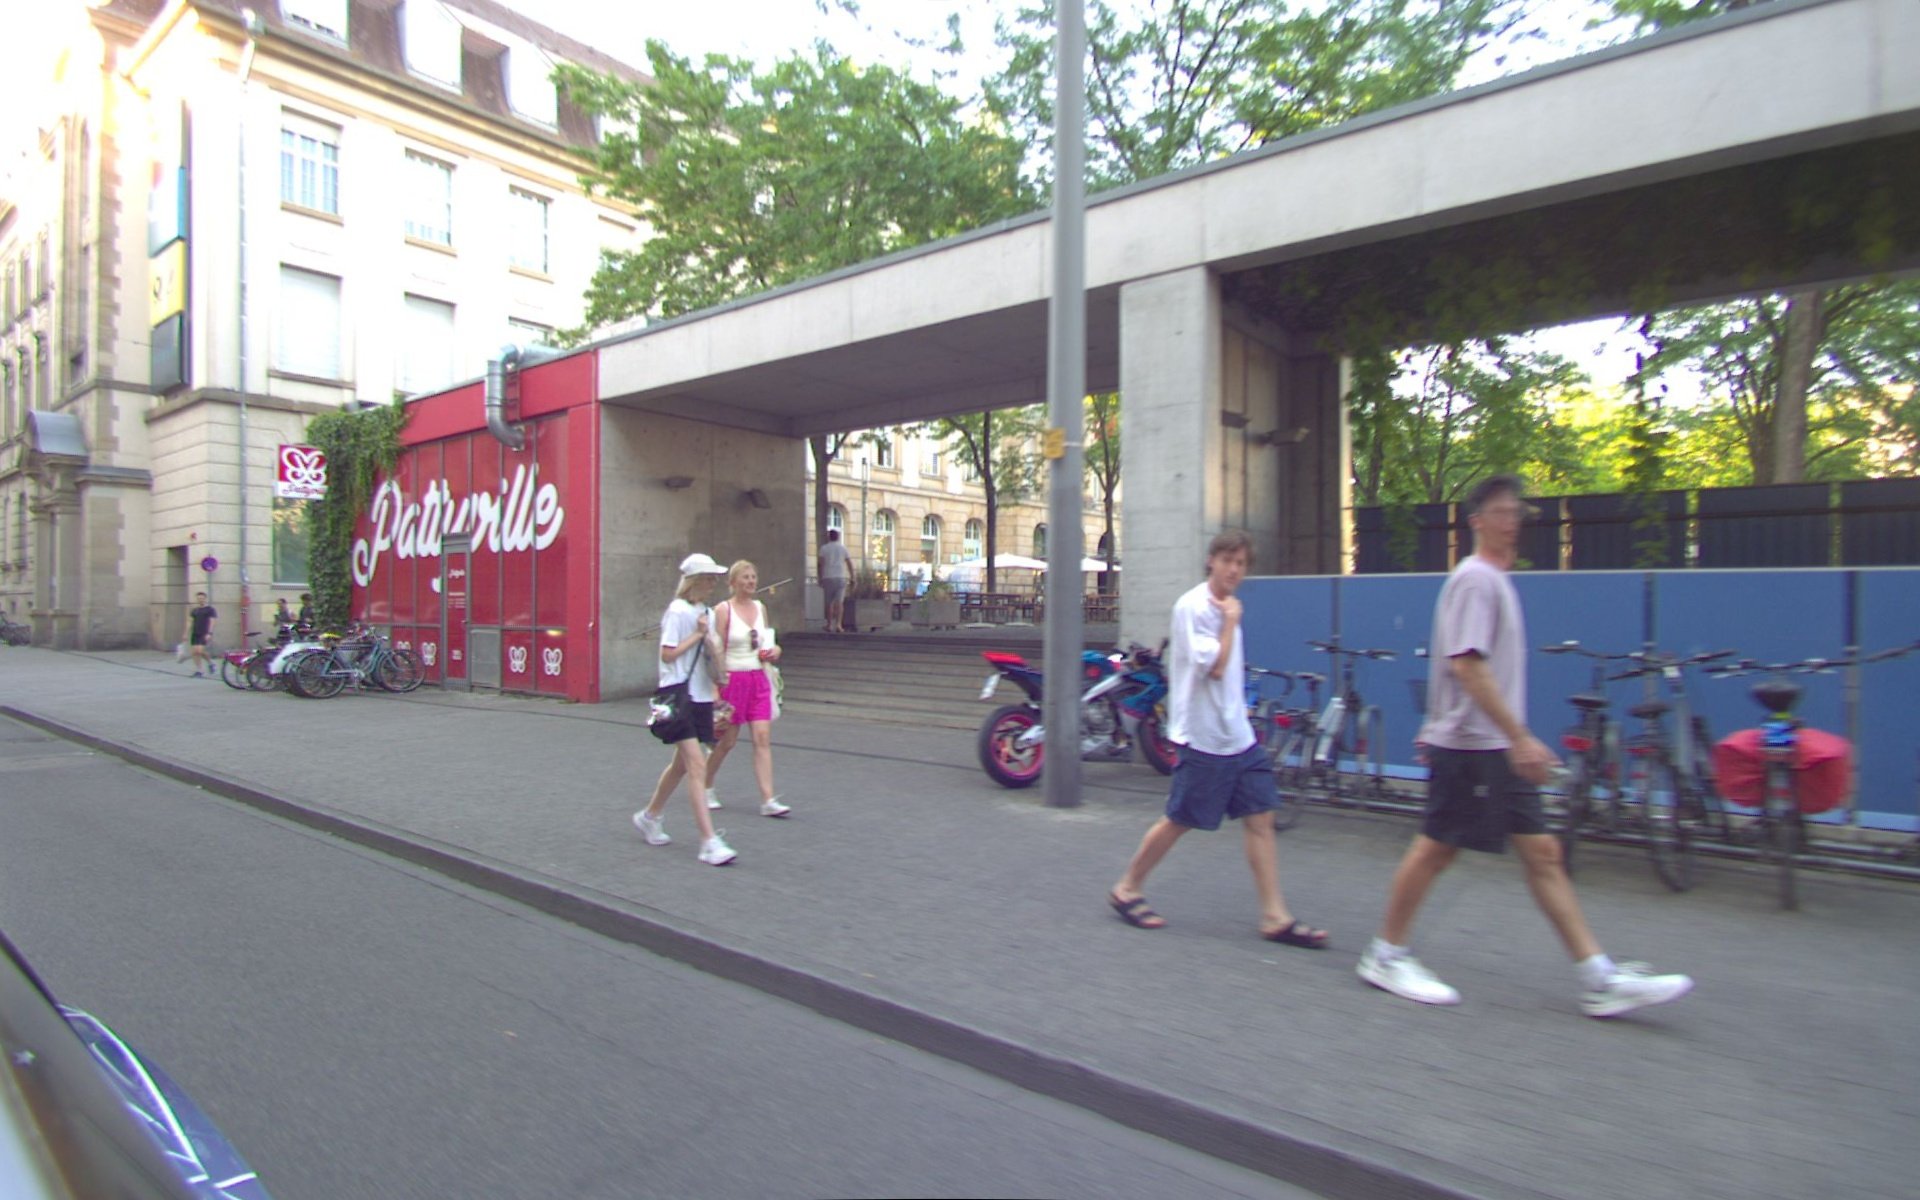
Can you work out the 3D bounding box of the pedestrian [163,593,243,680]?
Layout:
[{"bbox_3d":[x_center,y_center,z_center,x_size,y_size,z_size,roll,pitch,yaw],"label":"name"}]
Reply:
[{"bbox_3d":[-16.382,0.774,21.933,0.936,1.841,1.004,-1,0,12],"label":"pedestrian"}]

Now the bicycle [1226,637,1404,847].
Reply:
[{"bbox_3d":[2.245,0.814,6.307,1.475,1.096,0.436,-1,0,-45],"label":"bicycle"}]

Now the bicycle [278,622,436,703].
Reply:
[{"bbox_3d":[-9.734,0.982,16.413,0.446,1.164,2.150,-1,0,44],"label":"bicycle"}]

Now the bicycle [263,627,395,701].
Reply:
[{"bbox_3d":[-10.454,1.039,16.824,0.354,1.091,1.819,-1,0,44],"label":"bicycle"}]

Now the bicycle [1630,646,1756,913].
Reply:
[{"bbox_3d":[3.690,0.812,5.132,0.441,1.077,1.480,-1,0,35],"label":"bicycle"}]

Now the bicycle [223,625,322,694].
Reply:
[{"bbox_3d":[-12.466,1.062,18.389,0.311,1.149,1.486,-1,0,30],"label":"bicycle"}]

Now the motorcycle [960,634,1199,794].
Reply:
[{"bbox_3d":[0.945,0.843,7.874,1.797,1.077,0.535,-1,0,-23],"label":"motorcycle"}]

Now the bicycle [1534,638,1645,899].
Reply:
[{"bbox_3d":[3.360,0.797,5.356,0.410,1.120,1.480,-1,0,35],"label":"bicycle"}]

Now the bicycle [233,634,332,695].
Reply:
[{"bbox_3d":[-12.181,1.135,18.233,0.311,0.986,1.486,-1,0,30],"label":"bicycle"}]

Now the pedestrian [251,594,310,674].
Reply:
[{"bbox_3d":[-15.295,0.746,22.785,0.701,1.740,0.910,-1,0,34],"label":"pedestrian"}]

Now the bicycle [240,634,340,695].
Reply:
[{"bbox_3d":[-11.926,1.130,18.055,0.311,0.963,1.486,-1,0,30],"label":"bicycle"}]

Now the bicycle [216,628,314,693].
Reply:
[{"bbox_3d":[-12.744,1.090,18.592,0.311,1.084,1.486,-1,0,30],"label":"bicycle"}]

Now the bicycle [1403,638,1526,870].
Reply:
[{"bbox_3d":[2.935,0.804,5.825,0.410,1.096,1.480,-1,0,35],"label":"bicycle"}]

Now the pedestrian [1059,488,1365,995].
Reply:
[{"bbox_3d":[1.077,0.501,4.274,0.889,1.807,0.972,-1,0,41],"label":"pedestrian"}]

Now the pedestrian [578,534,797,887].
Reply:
[{"bbox_3d":[-1.553,0.562,5.784,0.868,1.807,0.840,-1,0,41],"label":"pedestrian"}]

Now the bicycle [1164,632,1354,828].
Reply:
[{"bbox_3d":[2.110,0.806,6.965,0.550,1.095,1.848,-1,0,40],"label":"bicycle"}]

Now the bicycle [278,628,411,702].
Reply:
[{"bbox_3d":[-10.058,1.032,16.595,0.354,1.091,1.819,-1,0,44],"label":"bicycle"}]

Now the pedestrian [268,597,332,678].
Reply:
[{"bbox_3d":[-14.512,0.804,22.266,0.831,1.740,0.911,-1,0,31],"label":"pedestrian"}]

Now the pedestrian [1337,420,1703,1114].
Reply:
[{"bbox_3d":[1.914,0.454,3.432,0.889,1.898,0.972,-1,0,41],"label":"pedestrian"}]

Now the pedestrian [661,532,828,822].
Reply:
[{"bbox_3d":[-1.454,0.477,6.862,0.736,1.807,0.801,-1,0,41],"label":"pedestrian"}]

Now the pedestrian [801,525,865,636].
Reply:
[{"bbox_3d":[-2.164,-0.331,17.352,0.933,1.841,0.832,-1,0,2],"label":"pedestrian"}]

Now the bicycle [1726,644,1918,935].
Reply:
[{"bbox_3d":[4.069,0.799,4.862,0.547,1.096,1.480,-1,0,35],"label":"bicycle"}]
